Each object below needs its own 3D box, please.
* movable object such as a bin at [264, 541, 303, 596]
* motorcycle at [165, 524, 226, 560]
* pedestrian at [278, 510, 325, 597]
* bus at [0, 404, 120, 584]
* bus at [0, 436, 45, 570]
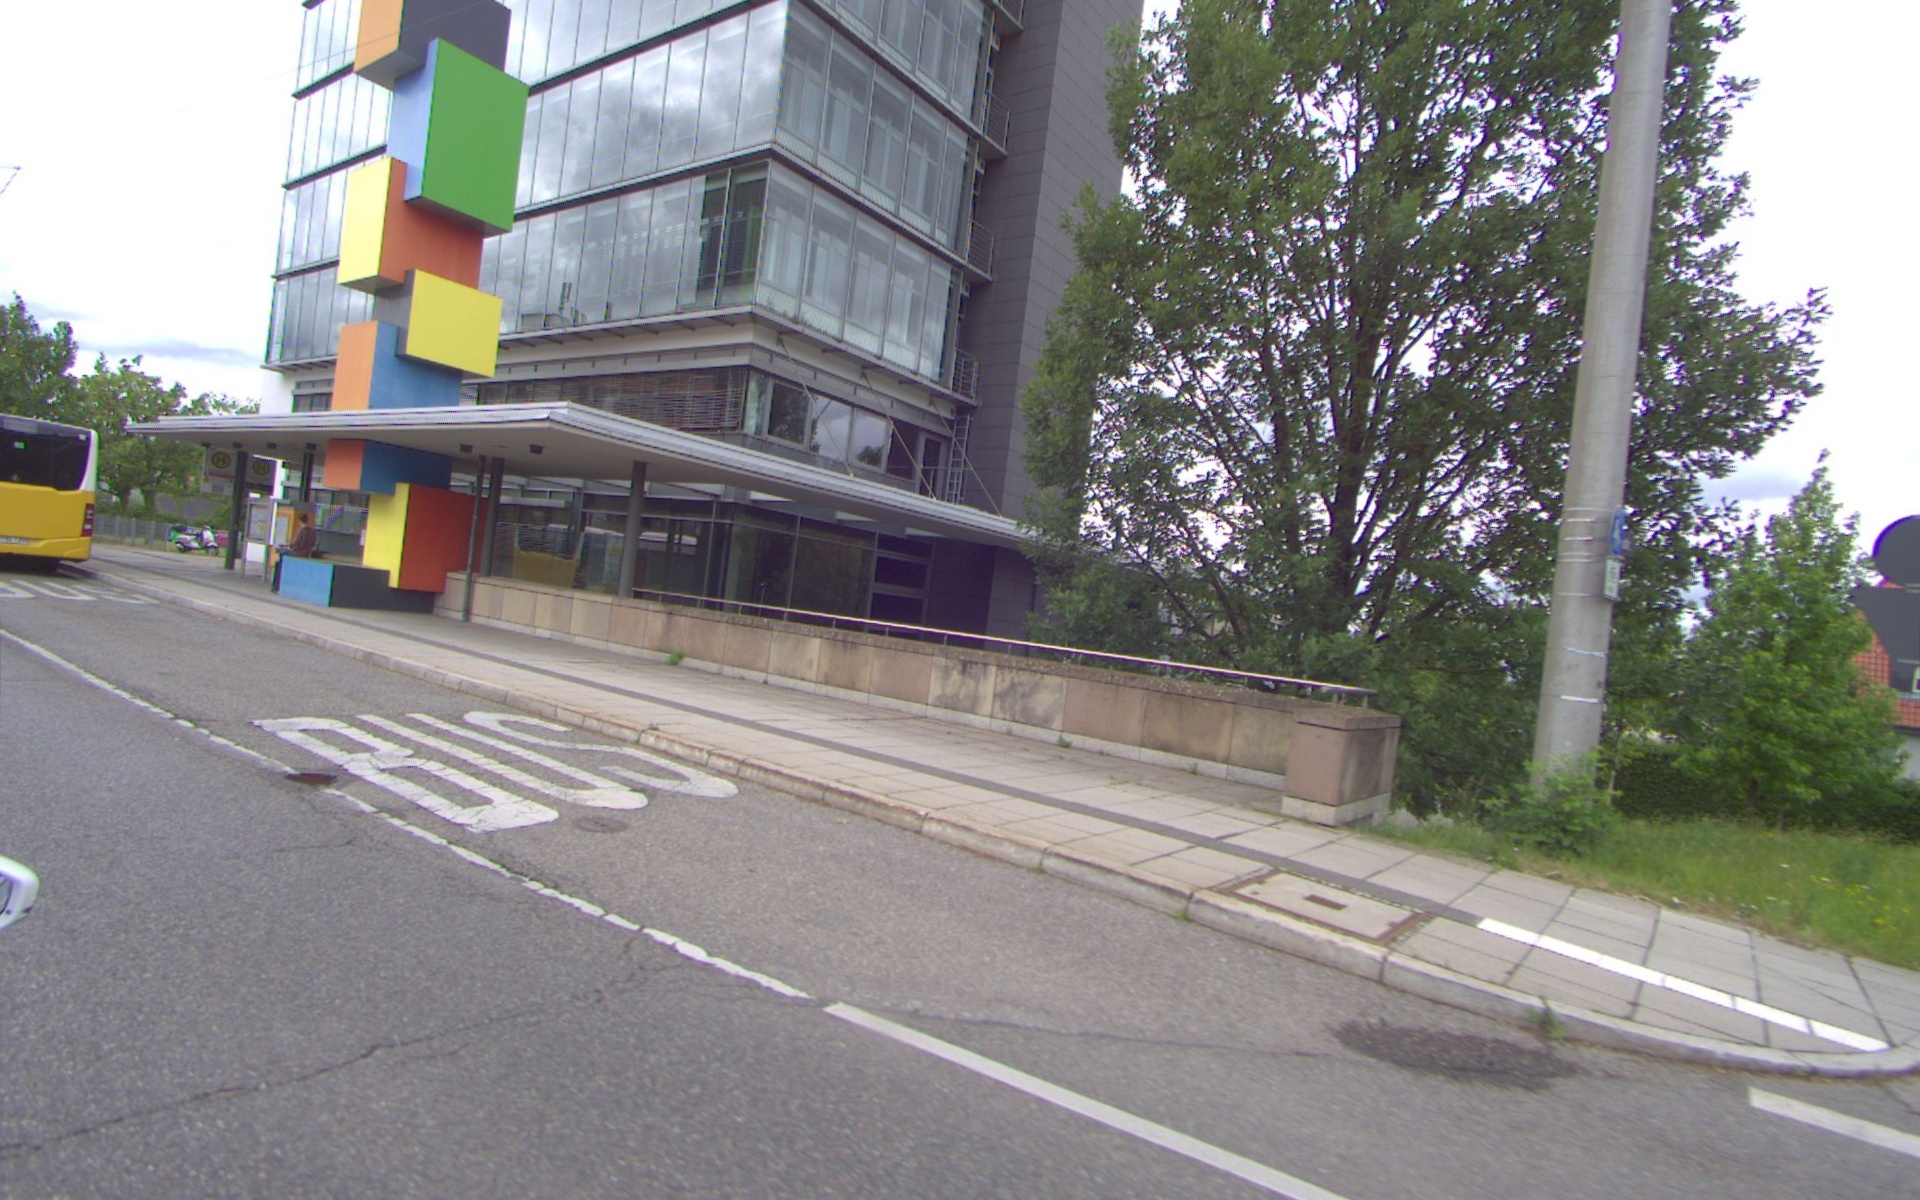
[{"bbox_3d":[-13.981,-0.652,20.790,0.525,1.041,0.420,7,0,37],"label":"movable object such as a bin"},{"bbox_3d":[-29.385,-2.220,38.671,1.709,1.128,0.825,7,0,8],"label":"motorcycle"},{"bbox_3d":[-13.914,-0.984,21.243,0.563,1.756,0.508,7,0,37],"label":"pedestrian"},{"bbox_3d":[-21.882,-2.436,22.350,9.201,3.276,3.033,6,0,39],"label":"bus"},{"bbox_3d":[-28.473,-2.954,27.847,9.724,3.275,2.984,5,-4,40],"label":"bus"}]
